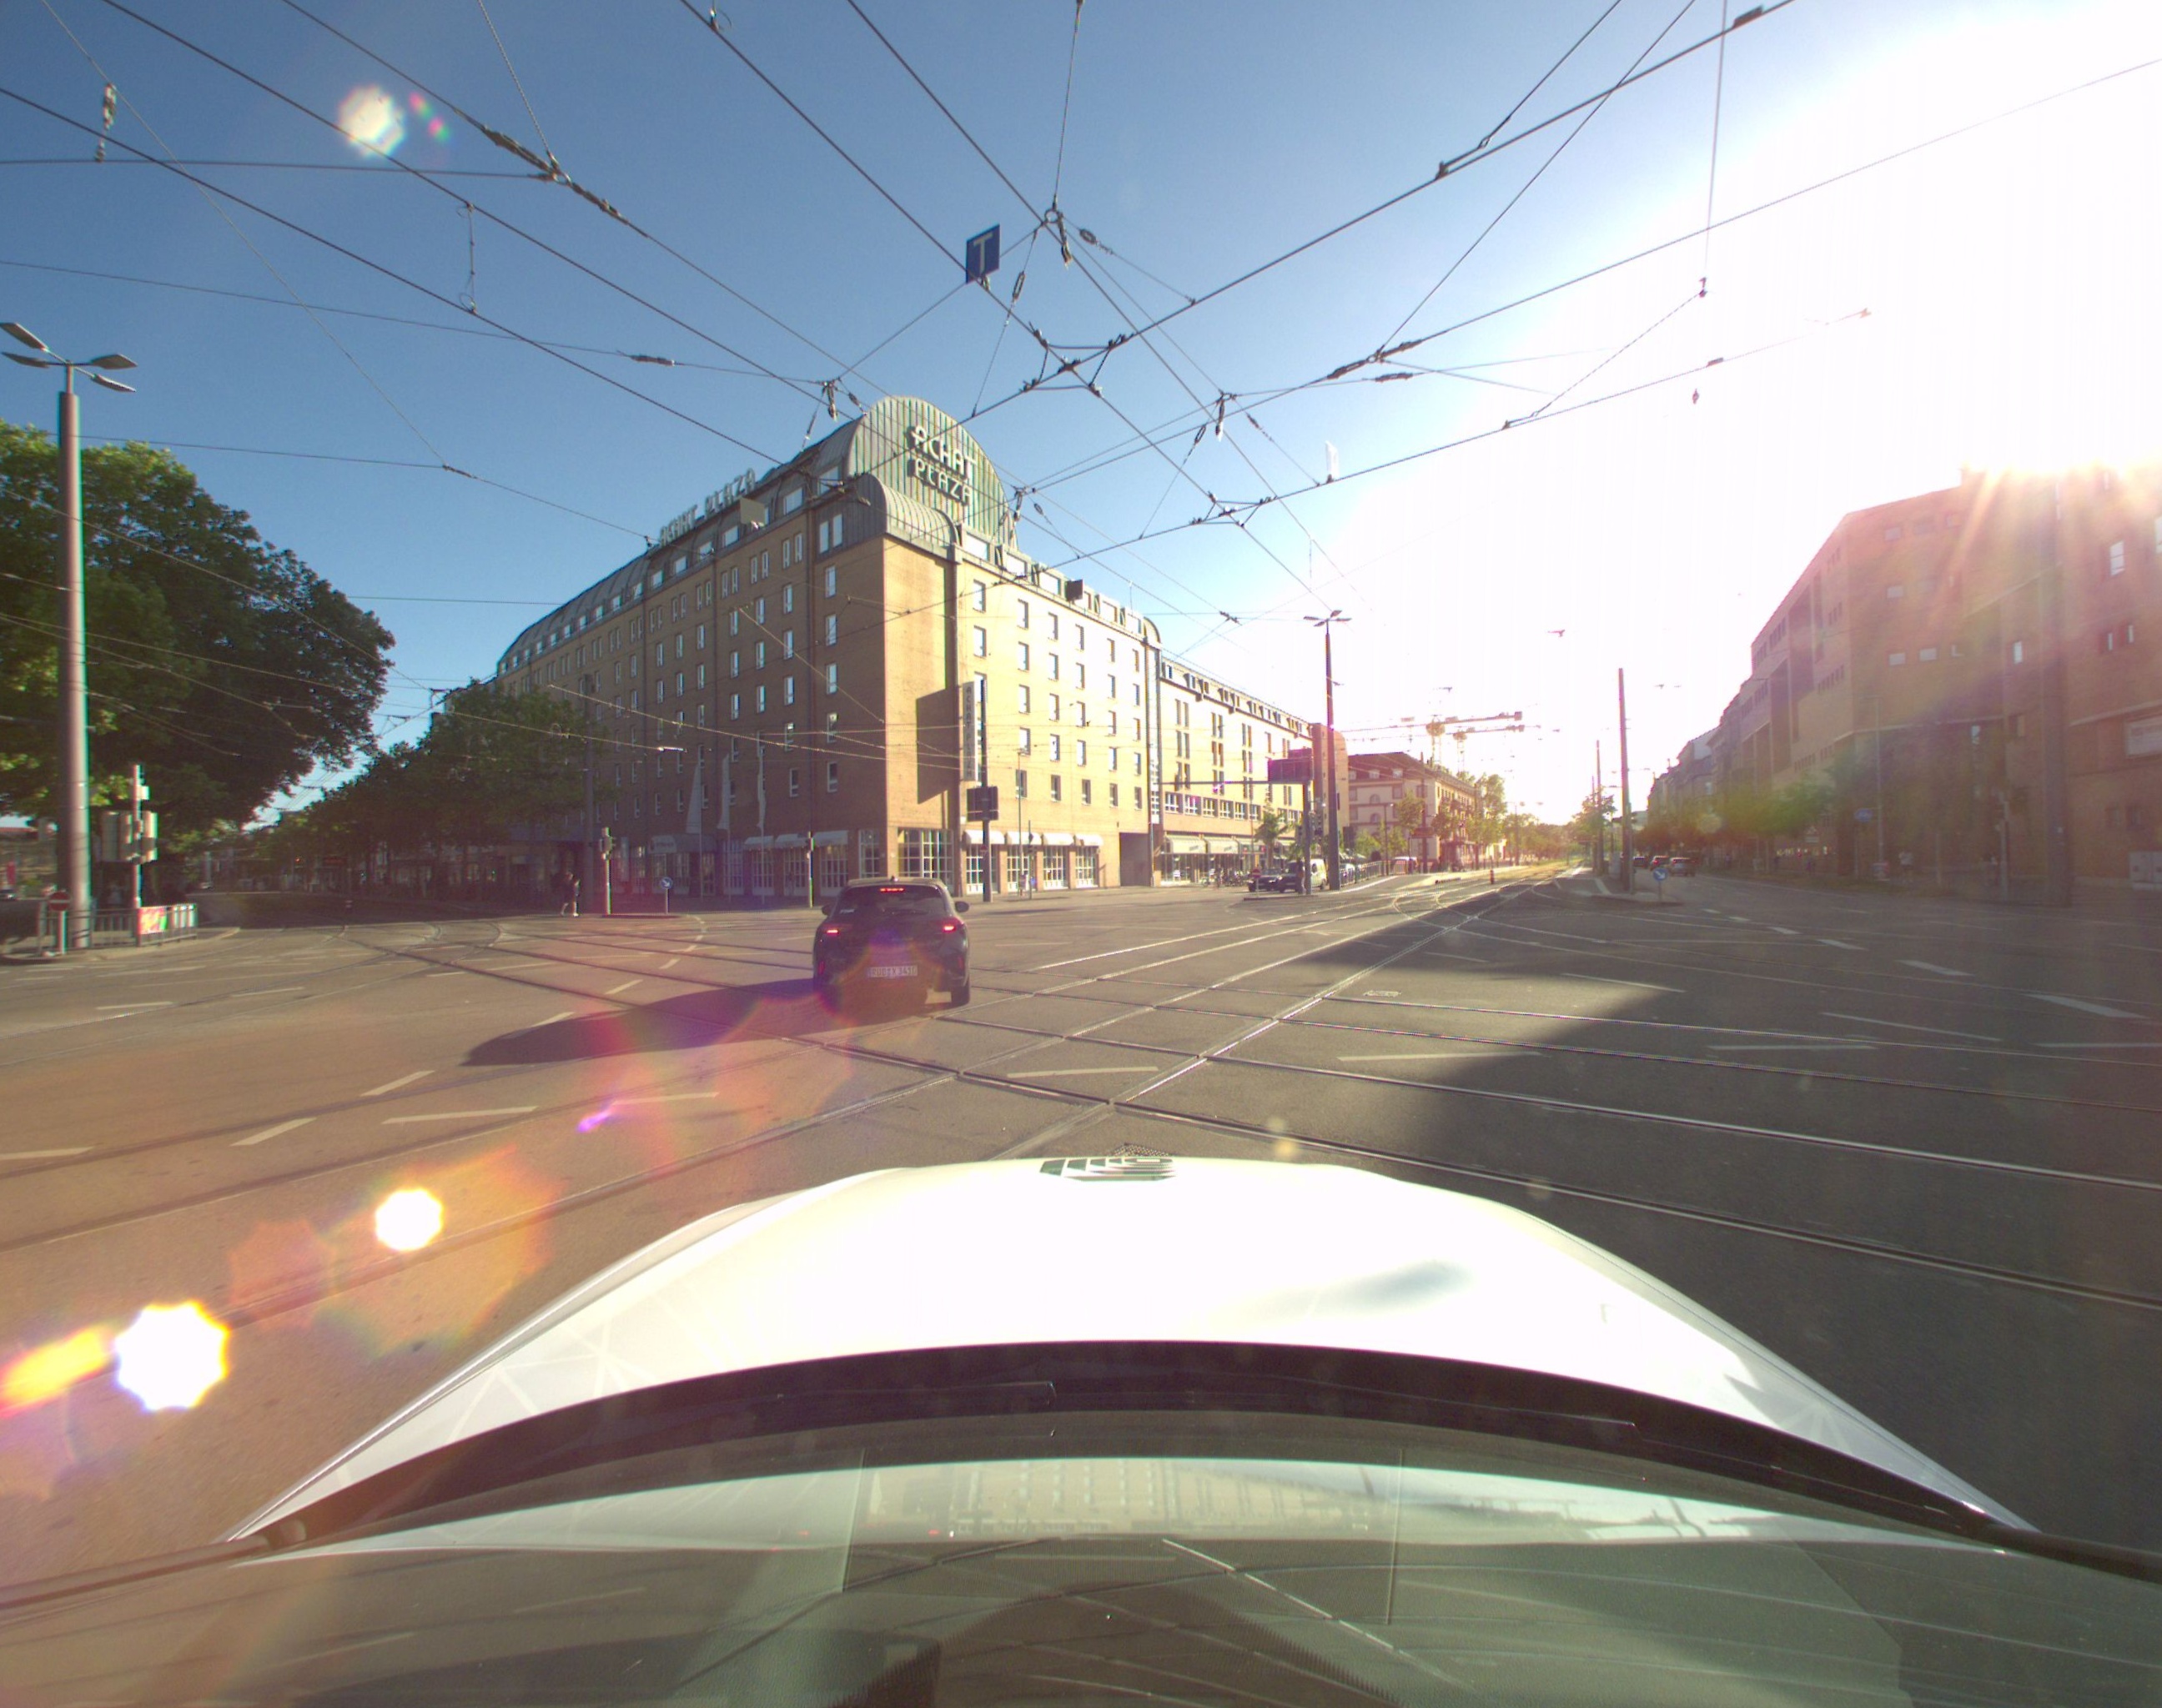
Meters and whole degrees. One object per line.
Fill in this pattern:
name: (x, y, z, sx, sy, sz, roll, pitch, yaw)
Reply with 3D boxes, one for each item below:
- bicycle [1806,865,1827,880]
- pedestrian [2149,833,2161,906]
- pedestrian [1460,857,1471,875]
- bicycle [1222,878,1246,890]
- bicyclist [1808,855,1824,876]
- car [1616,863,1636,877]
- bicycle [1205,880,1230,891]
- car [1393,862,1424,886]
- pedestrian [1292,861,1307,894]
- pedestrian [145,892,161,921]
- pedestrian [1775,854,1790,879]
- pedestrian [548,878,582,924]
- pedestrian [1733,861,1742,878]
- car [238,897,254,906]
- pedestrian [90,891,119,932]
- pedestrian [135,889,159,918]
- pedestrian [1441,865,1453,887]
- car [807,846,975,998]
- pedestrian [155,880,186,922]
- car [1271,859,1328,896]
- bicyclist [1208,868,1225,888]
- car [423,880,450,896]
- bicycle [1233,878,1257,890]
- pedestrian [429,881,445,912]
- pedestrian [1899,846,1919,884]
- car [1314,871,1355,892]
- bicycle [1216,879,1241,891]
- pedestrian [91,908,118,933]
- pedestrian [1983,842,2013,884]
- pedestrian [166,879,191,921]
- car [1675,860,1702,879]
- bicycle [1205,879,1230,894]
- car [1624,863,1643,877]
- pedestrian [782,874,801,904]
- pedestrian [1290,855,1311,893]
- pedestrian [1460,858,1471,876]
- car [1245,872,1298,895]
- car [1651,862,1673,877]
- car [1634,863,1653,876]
bicycle: (48.031, 1.206, 53.190, 0.642, 0.904, 2.360, -3, -3, 35)
pedestrian: (26.816, 0.369, 19.907, 0.566, 1.786, 0.552, -4, -4, 25)
pedestrian: (35.934, 1.114, 76.117, 0.853, 1.670, 0.741, -2, -2, 23)
bicycle: (12.958, 2.549, 68.852, 2.014, 0.921, 0.486, -5, -4, 44)
bicyclist: (48.084, 0.783, 53.306, 0.639, 1.339, 0.657, -3, -4, 35)
car: (59.310, 1.706, 88.699, 1.704, 1.453, 3.721, -2, -2, 33)
bicycle: (11.146, 2.564, 66.601, 2.014, 0.845, 0.486, -5, -4, 44)
car: (43.424, 2.594, 107.852, 2.354, 2.999, 8.522, -3, -2, 31)
pedestrian: (10.677, 1.144, 39.803, 0.575, 1.577, 0.650, -2, -3, 20)
pedestrian: (-51.456, 2.883, 45.158, 0.505, 1.573, 0.488, 2, -3, -45)
pedestrian: (52.033, 0.945, 60.430, 0.634, 1.786, 0.693, -4, -4, 34)
pedestrian: (-19.696, 1.788, 31.092, 0.707, 1.680, 0.836, -4, -2, 35)
pedestrian: (67.253, 1.586, 83.430, 0.634, 1.786, 0.693, -4, -4, 36)
car: (-143.574, 8.155, 139.964, 3.643, 1.502, 1.628, -3, -4, 41)
pedestrian: (-43.431, 2.536, 36.221, 0.595, 1.801, 0.737, 1, -3, -33)
pedestrian: (-50.063, 2.649, 43.650, 0.483, 1.573, 0.670, 0, -2, -5)
pedestrian: (31.146, 1.882, 69.369, 0.853, 1.886, 0.741, -2, -2, 23)
car: (-2.408, 0.722, 10.096, 1.675, 1.502, 3.670, 0, -2, -16)
pedestrian: (-40.410, 2.070, 36.155, 0.592, 1.829, 0.740, 0, -3, -17)
car: (12.162, 1.313, 45.116, 1.821, 1.836, 4.132, -5, -4, 32)
bicyclist: (9.494, 1.691, 57.168, 0.802, 1.377, 0.931, -4, -3, 32)
car: (-70.113, 3.751, 88.537, 3.643, 1.653, 1.687, -3, -4, 42)
bicycle: (14.017, 2.552, 69.656, 2.014, 0.921, 0.486, -5, -4, 44)
pedestrian: (-36.687, 2.422, 46.412, 0.480, 1.680, 0.610, -4, -2, 41)
pedestrian: (40.387, 0.534, 39.735, 0.542, 1.786, 0.577, -3, -1, 36)
car: (19.510, 2.121, 62.587, 1.821, 1.449, 4.325, -5, -4, 32)
bicycle: (12.255, 2.580, 67.673, 2.014, 0.845, 0.486, -5, -4, 44)
pedestrian: (-46.274, 3.142, 38.592, 0.595, 1.164, 0.737, 1, -3, -33)
pedestrian: (39.719, 0.402, 35.280, 0.634, 1.786, 0.693, -4, -4, 36)
pedestrian: (-39.662, 2.011, 35.791, 0.735, 1.829, 0.640, -3, -4, 37)
car: (48.414, 1.247, 64.974, 1.544, 1.456, 3.453, -2, -2, 34)
bicycle: (9.595, 2.294, 57.274, 0.802, 0.991, 2.524, -4, -3, 32)
car: (64.579, 1.874, 95.196, 1.704, 1.454, 3.721, -4, -4, 33)
pedestrian: (-16.371, 1.960, 46.055, 0.743, 1.666, 0.746, -3, -3, 36)
pedestrian: (10.135, 0.944, 37.668, 0.714, 1.727, 0.598, -4, -4, 34)
pedestrian: (36.262, 1.230, 76.865, 0.853, 1.670, 0.789, -2, -2, 23)
car: (11.703, 1.811, 49.763, 1.821, 1.269, 4.255, -5, -4, 31)
car: (58.994, 1.564, 82.712, 1.655, 1.453, 3.721, -2, -2, 33)
car: (68.791, 1.922, 99.659, 1.704, 1.454, 3.721, -4, -4, 33)
